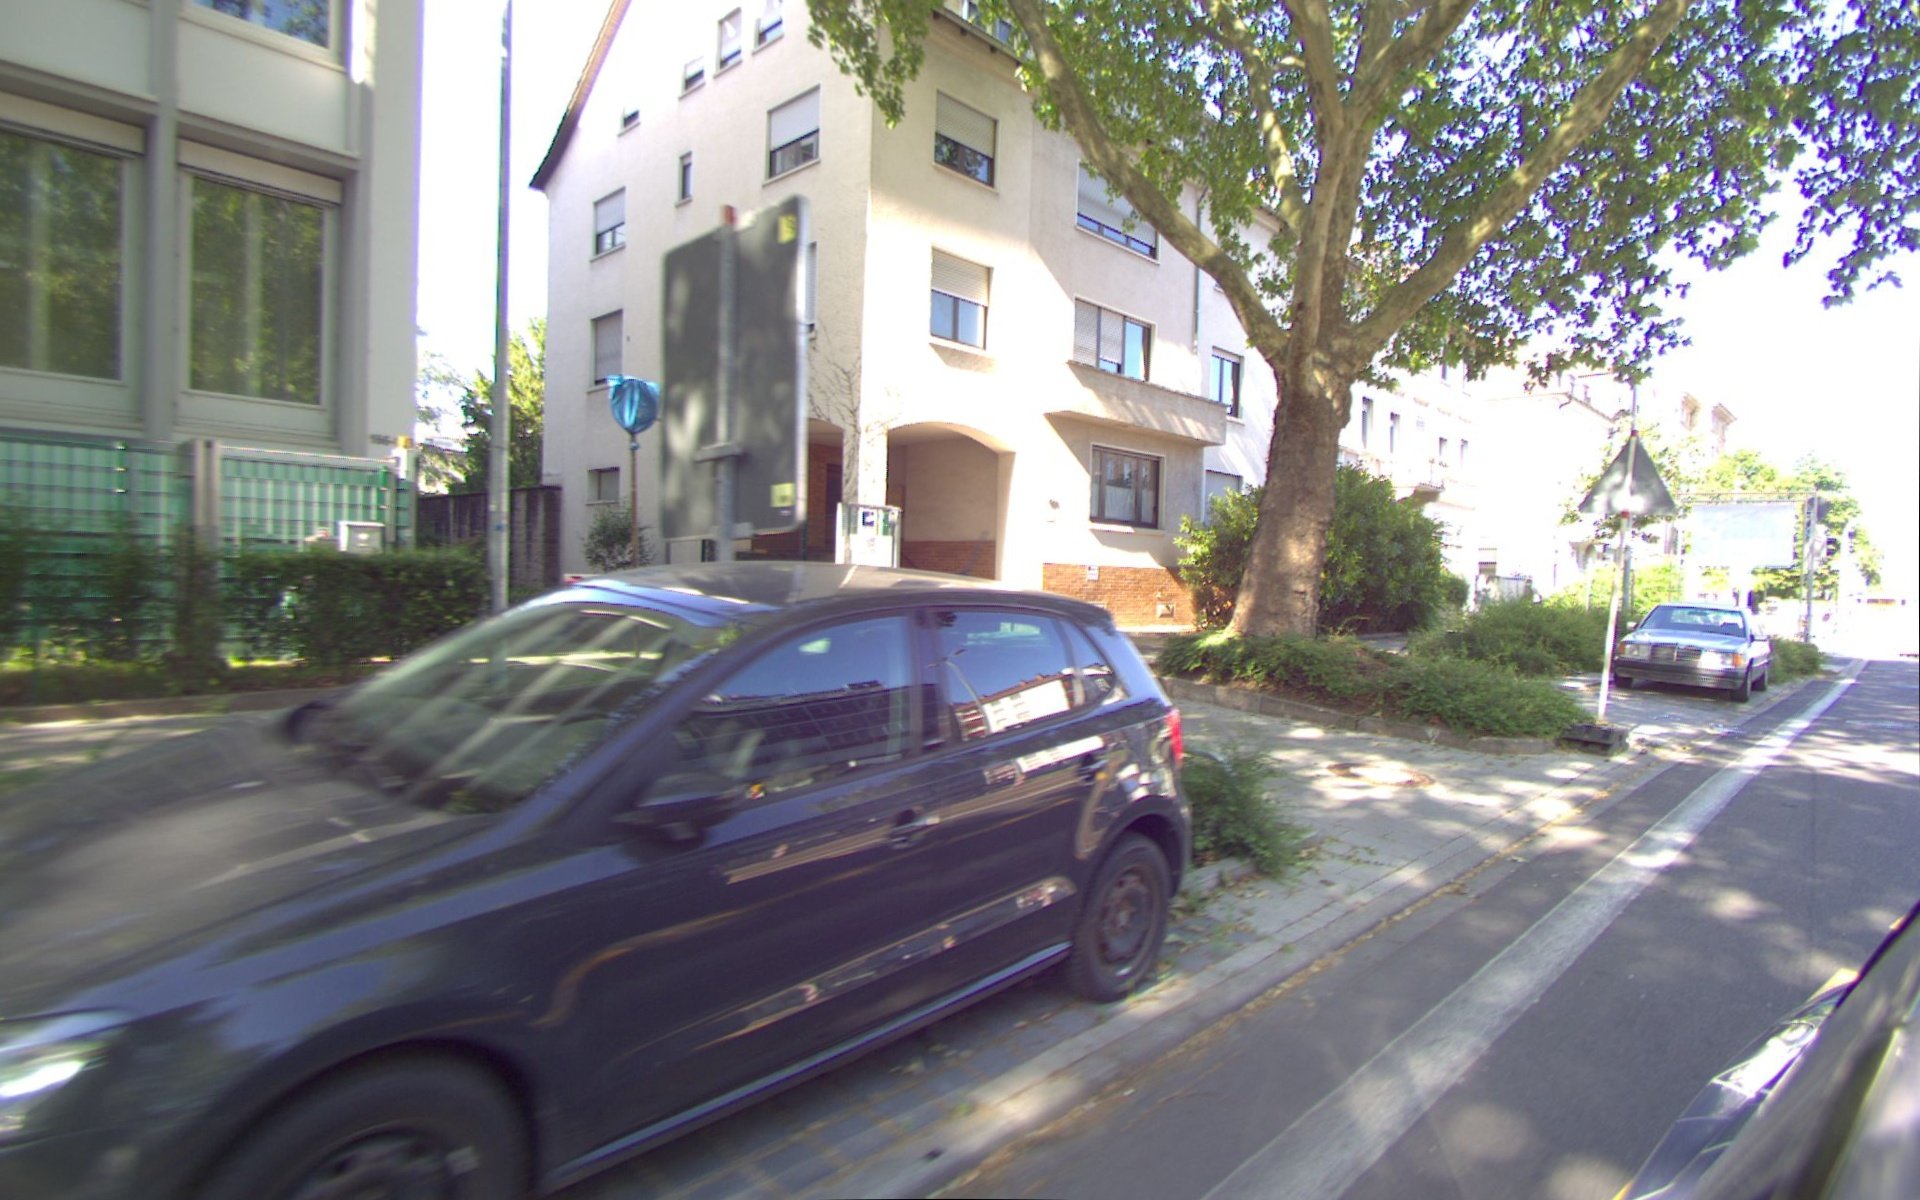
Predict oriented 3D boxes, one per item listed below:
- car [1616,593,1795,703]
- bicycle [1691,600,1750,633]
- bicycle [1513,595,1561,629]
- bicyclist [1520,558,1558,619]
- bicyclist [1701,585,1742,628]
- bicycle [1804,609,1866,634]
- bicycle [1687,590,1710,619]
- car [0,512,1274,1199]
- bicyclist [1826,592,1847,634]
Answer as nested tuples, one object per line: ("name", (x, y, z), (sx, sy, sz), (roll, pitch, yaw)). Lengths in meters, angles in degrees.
("car", (12.383, 0.663, 16.673), (1.852, 1.498, 4.866), (2, 1, 43))
("bicycle", (28.001, 0.616, 37.271), (1.653, 1.111, 0.691), (3, 1, -5))
("bicycle", (17.637, 0.362, 30.914), (1.793, 0.978, 0.783), (0, 1, -44))
("bicyclist", (17.678, -0.357, 30.876), (1.053, 1.843, 0.724), (1, 1, -45))
("bicyclist", (28.016, 0.225, 37.256), (0.853, 1.518, 0.727), (4, 1, -7))
("bicycle", (37.328, 0.901, 43.197), (1.963, 1.038, 0.595), (1, -1, 45))
("bicycle", (38.924, 0.254, 53.330), (0.708, 1.462, 2.452), (0, -1, 43))
("car", (-0.838, 0.615, 3.142), (1.764, 1.527, 4.183), (2, 1, 44))
("bicyclist", (37.338, 0.548, 43.117), (0.603, 1.730, 0.845), (2, 1, 44))
